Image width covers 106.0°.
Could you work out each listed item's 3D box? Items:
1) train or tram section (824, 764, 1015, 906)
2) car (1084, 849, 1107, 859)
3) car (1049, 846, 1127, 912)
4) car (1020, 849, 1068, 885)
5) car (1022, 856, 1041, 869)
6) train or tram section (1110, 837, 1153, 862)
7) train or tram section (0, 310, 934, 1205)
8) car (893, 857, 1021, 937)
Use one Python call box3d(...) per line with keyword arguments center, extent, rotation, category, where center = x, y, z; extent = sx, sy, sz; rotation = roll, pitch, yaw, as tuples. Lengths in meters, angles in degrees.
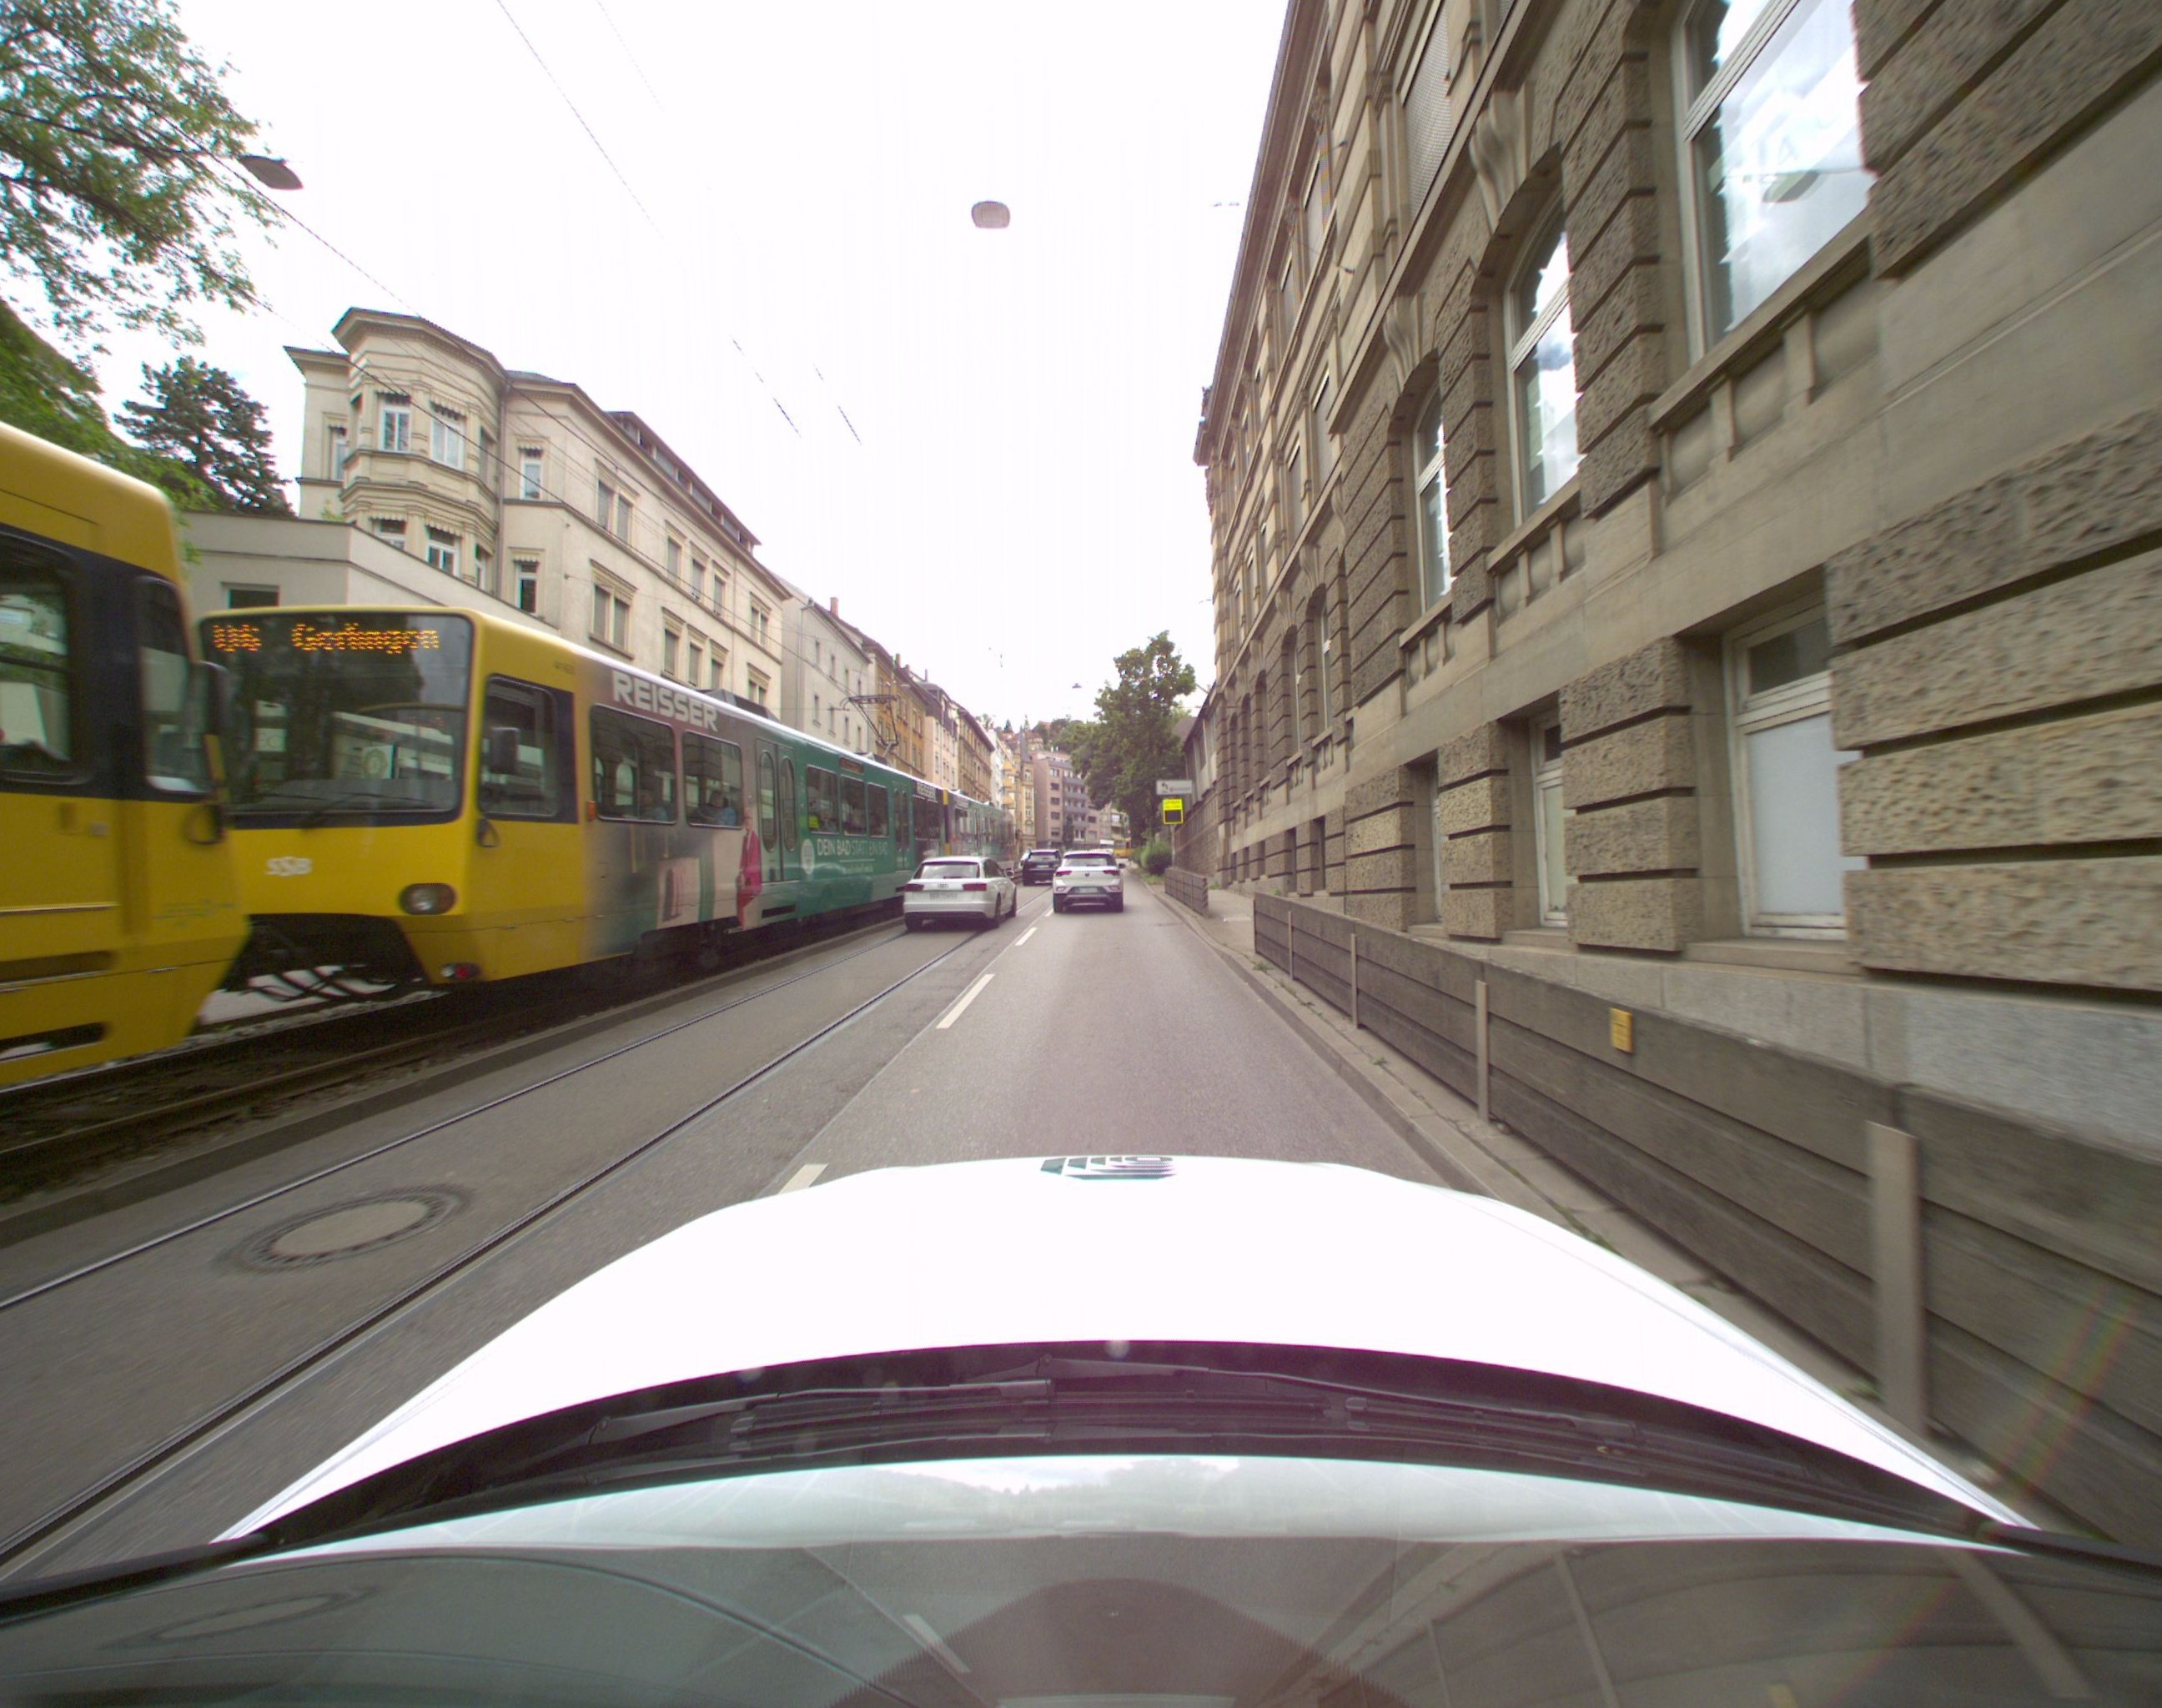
box3d(center=(-5.054, -0.557, 30.970), extent=(2.865, 3.725, 18.765), rotation=(1, 0, 2), category="train or tram section")
box3d(center=(2.791, -0.035, 160.517), extent=(1.974, 2.035, 4.731), rotation=(-1, 0, 40), category="car")
box3d(center=(0.215, 0.593, 21.707), extent=(1.872, 1.554, 4.001), rotation=(-1, 0, 1), category="car")
box3d(center=(-1.703, 0.579, 38.604), extent=(2.031, 1.571, 4.357), rotation=(-1, 0, 0), category="car")
box3d(center=(-5.762, 0.980, 95.436), extent=(1.836, 1.455, 4.663), rotation=(-1, 0, 2), category="car")
box3d(center=(9.525, -0.908, 149.856), extent=(2.992, 4.213, 18.949), rotation=(-1, 0, 19), category="train or tram section")
box3d(center=(-5.647, -0.457, 12.176), extent=(2.865, 3.725, 18.765), rotation=(1, 0, 2), category="train or tram section")
box3d(center=(-2.495, 0.826, 17.541), extent=(1.872, 1.455, 4.619), rotation=(-1, 0, 2), category="car")
